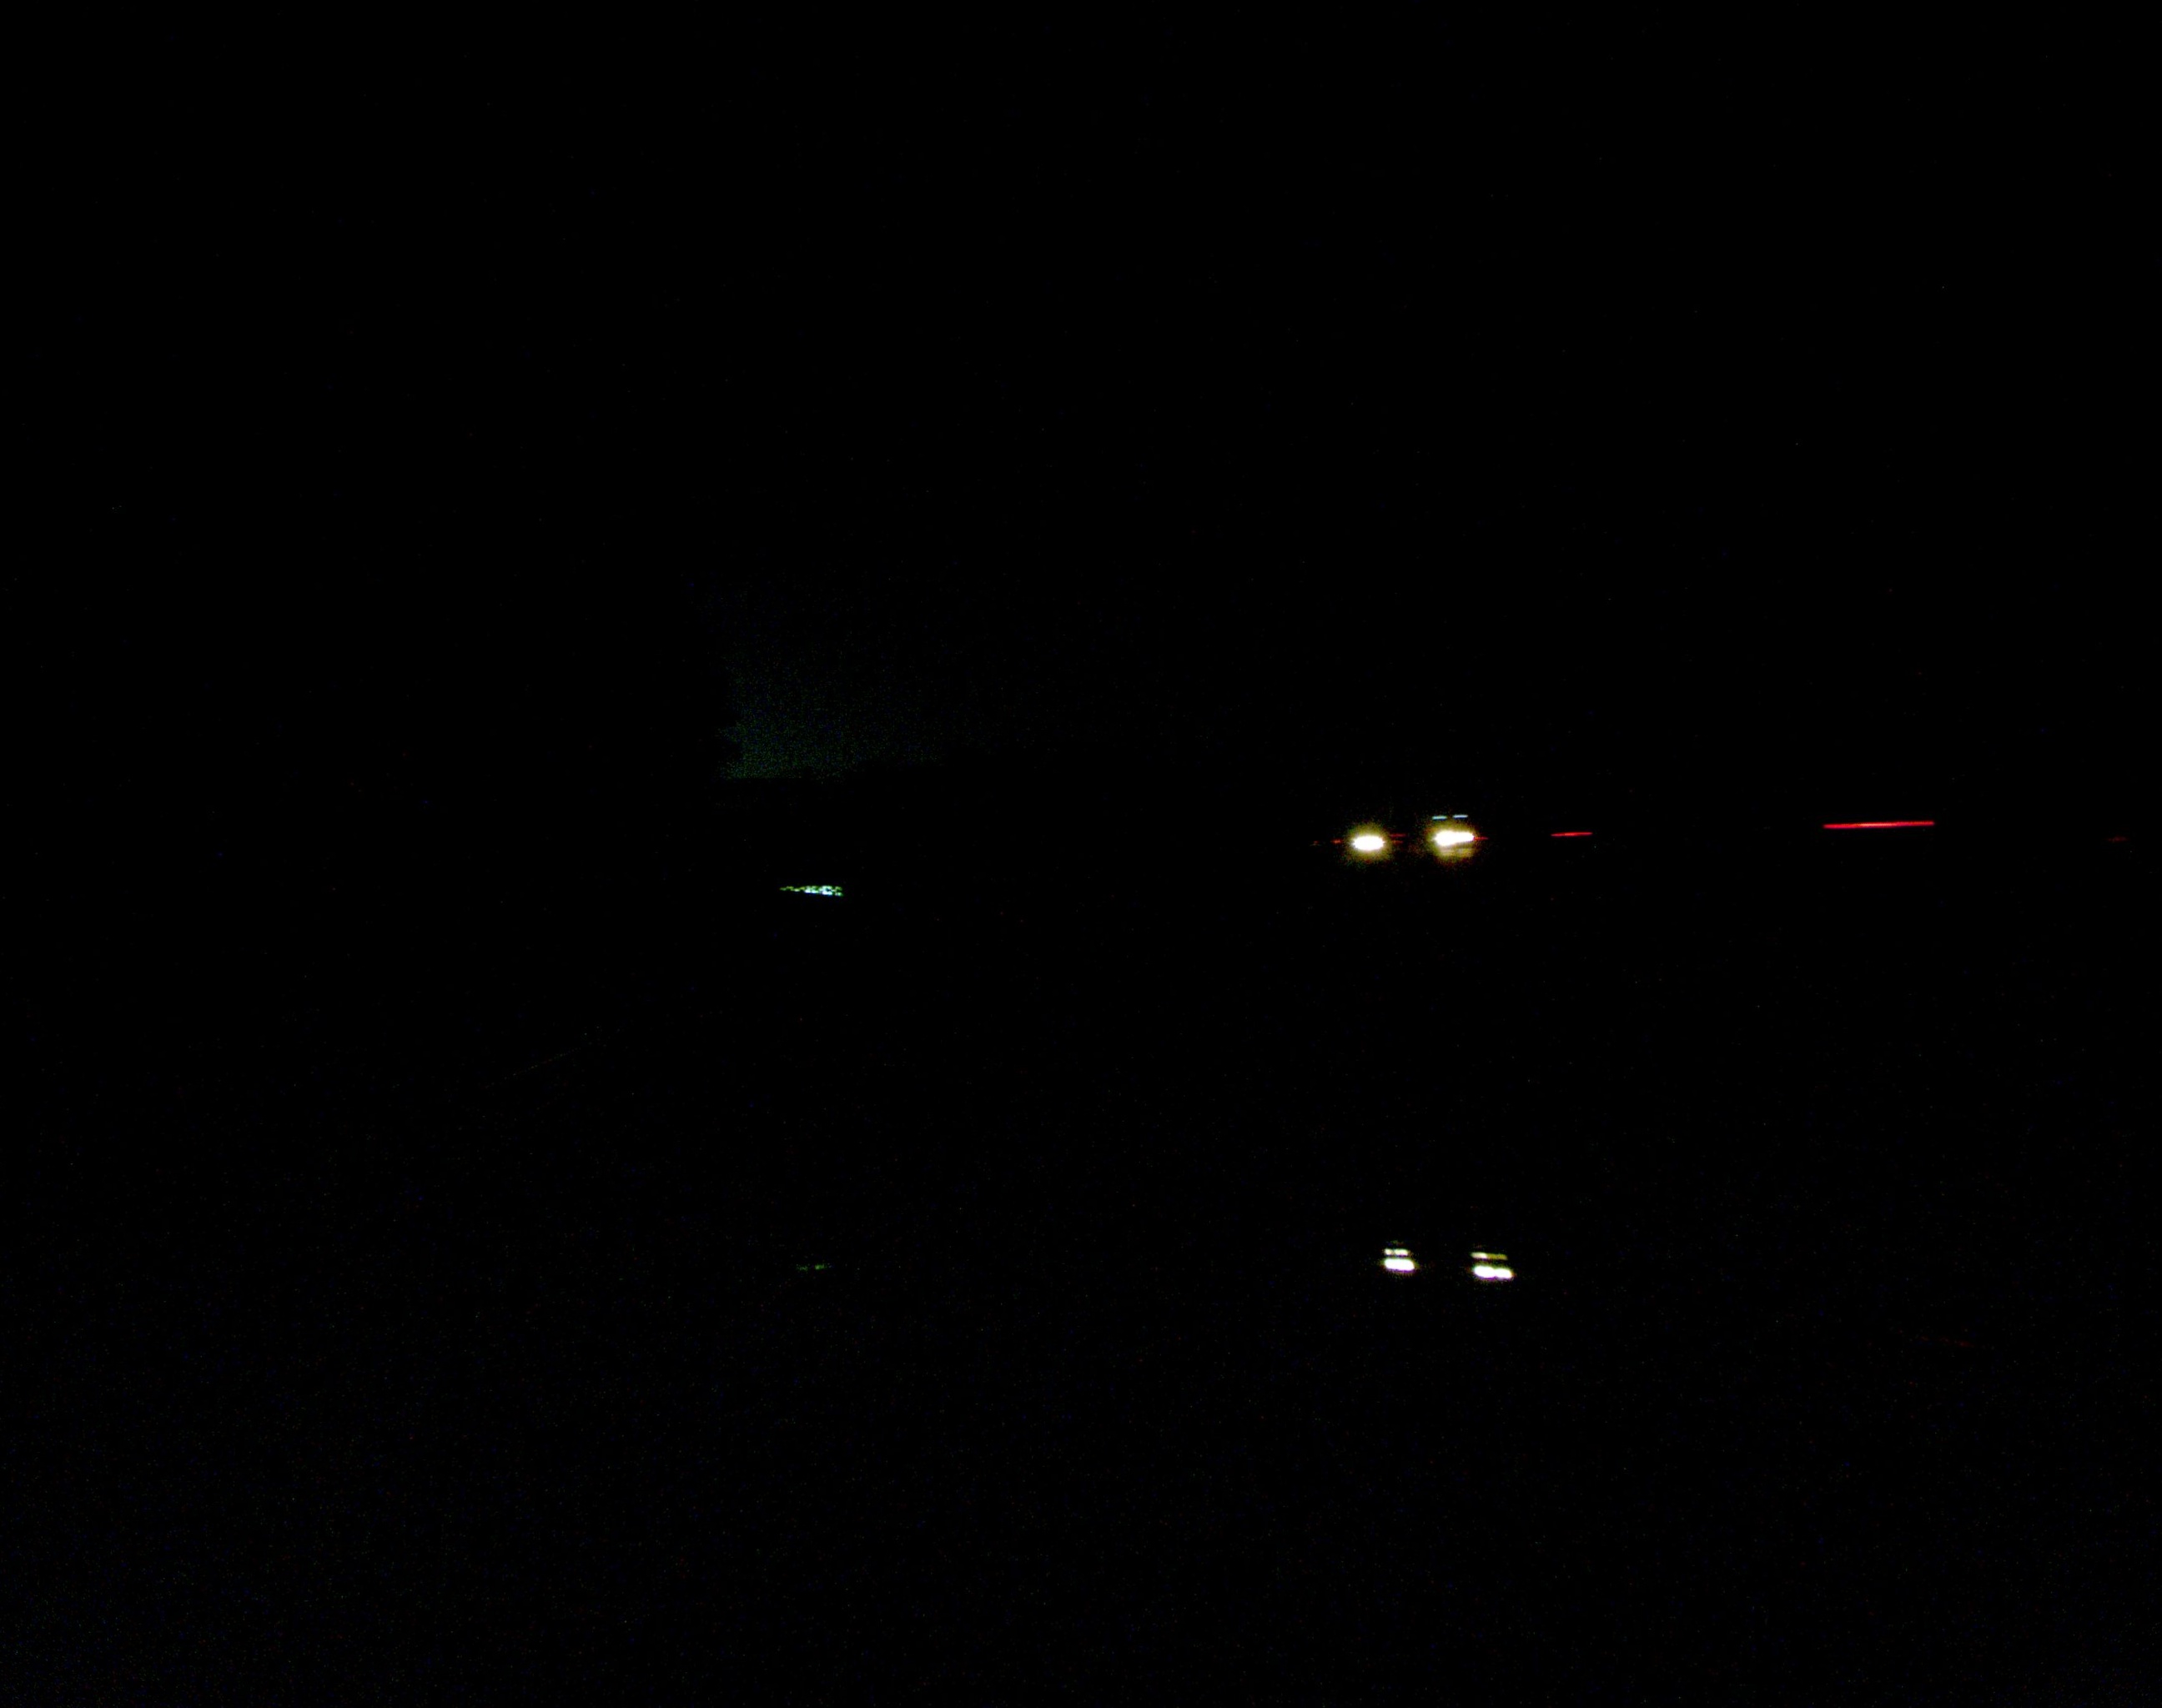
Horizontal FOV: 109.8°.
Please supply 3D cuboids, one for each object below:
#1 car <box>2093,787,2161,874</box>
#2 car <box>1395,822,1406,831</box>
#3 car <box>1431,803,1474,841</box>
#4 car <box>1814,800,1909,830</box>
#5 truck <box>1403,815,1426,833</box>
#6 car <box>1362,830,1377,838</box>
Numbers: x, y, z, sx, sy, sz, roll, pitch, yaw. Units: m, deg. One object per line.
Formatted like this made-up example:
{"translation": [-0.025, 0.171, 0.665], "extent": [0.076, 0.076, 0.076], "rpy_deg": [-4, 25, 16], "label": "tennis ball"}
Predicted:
{"translation": [17.581, -0.385, 11.029], "extent": [1.729, 1.361, 3.635], "rpy_deg": [-3, 1, 19], "label": "car"}
{"translation": [88.734, -7.652, 211.066], "extent": [1.996, 2.188, 4.003], "rpy_deg": [-3, 1, 15], "label": "car"}
{"translation": [36.465, -3.065, 74.796], "extent": [2.548, 3.403, 7.790], "rpy_deg": [-3, 1, 18], "label": "car"}
{"translation": [38.224, -1.871, 37.347], "extent": [1.626, 1.270, 4.005], "rpy_deg": [-3, 1, 20], "label": "car"}
{"translation": [86.758, -7.757, 198.166], "extent": [3.218, 4.425, 12.771], "rpy_deg": [-3, 1, 14], "label": "truck"}
{"translation": [45.755, -3.110, 120.576], "extent": [1.678, 1.128, 4.003], "rpy_deg": [-3, 1, 12], "label": "car"}
